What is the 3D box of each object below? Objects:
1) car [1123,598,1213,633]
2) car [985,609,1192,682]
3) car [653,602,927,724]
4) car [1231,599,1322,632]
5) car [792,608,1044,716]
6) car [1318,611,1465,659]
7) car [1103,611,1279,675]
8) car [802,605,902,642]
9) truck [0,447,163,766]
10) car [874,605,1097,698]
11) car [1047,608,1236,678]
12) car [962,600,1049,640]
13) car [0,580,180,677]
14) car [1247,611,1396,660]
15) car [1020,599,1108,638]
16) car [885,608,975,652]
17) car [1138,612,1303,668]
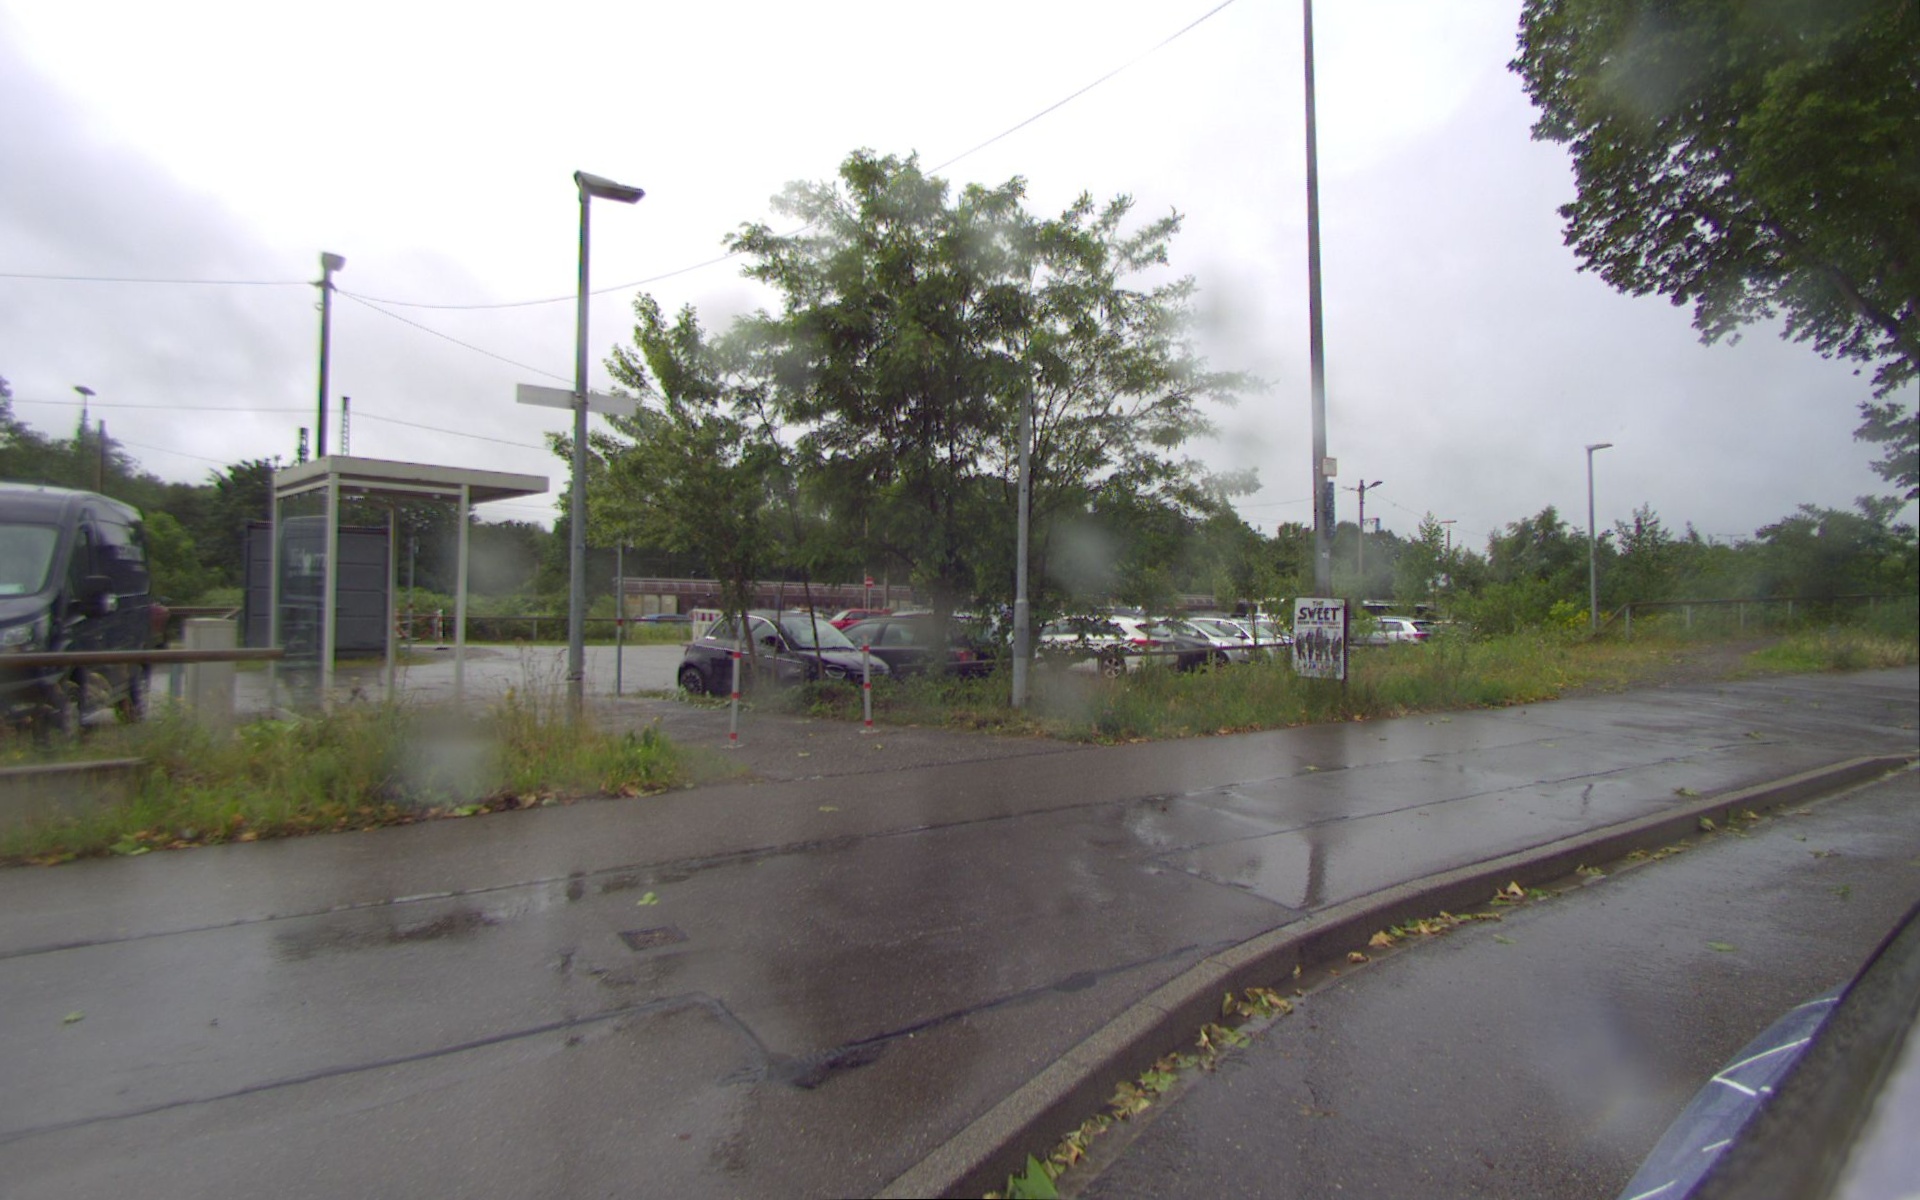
[{"bbox_3d":[9.023,0.641,44.155,1.780,1.393,4.007,0,1,-25],"label":"car"},{"bbox_3d":[3.015,1.007,24.226,4.618,1.503,1.852,1,1,36],"label":"car"},{"bbox_3d":[-2.560,0.820,14.870,3.974,1.508,1.683,1,1,35],"label":"car"},{"bbox_3d":[14.682,0.696,47.105,1.780,1.393,4.007,0,1,-25],"label":"car"},{"bbox_3d":[-0.754,0.942,17.056,3.974,1.522,1.852,1,1,35],"label":"car"},{"bbox_3d":[15.064,1.169,35.510,1.845,1.448,4.386,0,1,-43],"label":"car"},{"bbox_3d":[6.489,1.155,28.675,4.519,1.579,1.852,1,1,36],"label":"car"},{"bbox_3d":[-4.814,1.021,45.163,4.019,1.527,1.861,0,0,-27],"label":"car"},{"bbox_3d":[-9.059,0.075,9.361,2.034,2.352,5.349,0,0,-32],"label":"truck"},{"bbox_3d":[0.453,0.912,19.543,3.974,1.542,1.852,1,1,35],"label":"car"},{"bbox_3d":[4.652,1.045,26.229,4.519,1.579,1.852,1,1,36],"label":"car"},{"bbox_3d":[1.764,0.744,40.217,1.780,1.456,4.007,0,1,-25],"label":"car"},{"bbox_3d":[-15.457,0.407,18.122,1.805,1.467,4.005,-1,2,-30],"label":"car"},{"bbox_3d":[12.446,1.172,35.037,1.845,1.448,4.536,0,1,-43],"label":"car"},{"bbox_3d":[4.178,0.732,41.273,1.780,1.456,4.007,0,1,-25],"label":"car"},{"bbox_3d":[-1.193,1.075,38.063,1.920,1.492,4.007,0,1,-25],"label":"car"},{"bbox_3d":[7.947,1.172,31.070,4.527,1.484,1.974,1,1,41],"label":"car"}]
